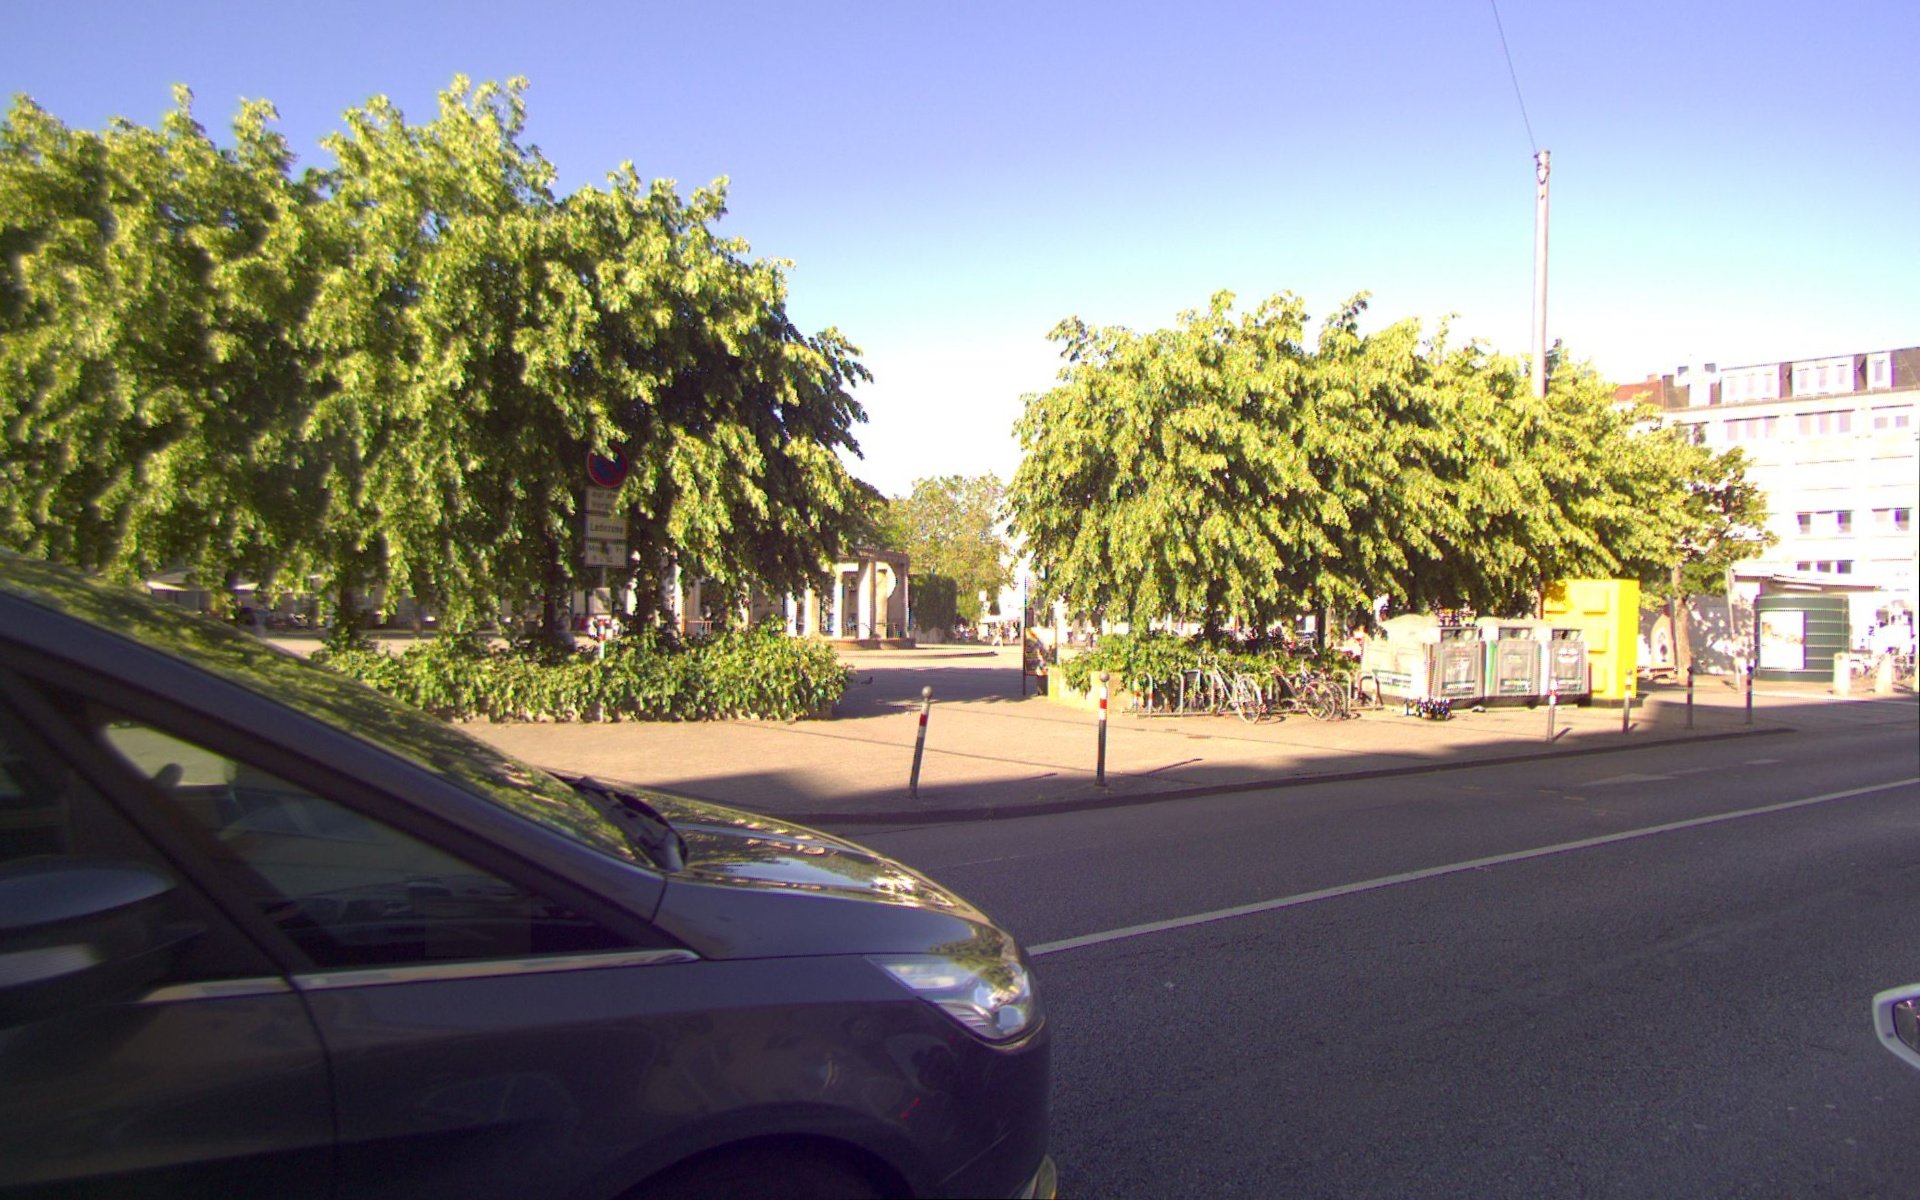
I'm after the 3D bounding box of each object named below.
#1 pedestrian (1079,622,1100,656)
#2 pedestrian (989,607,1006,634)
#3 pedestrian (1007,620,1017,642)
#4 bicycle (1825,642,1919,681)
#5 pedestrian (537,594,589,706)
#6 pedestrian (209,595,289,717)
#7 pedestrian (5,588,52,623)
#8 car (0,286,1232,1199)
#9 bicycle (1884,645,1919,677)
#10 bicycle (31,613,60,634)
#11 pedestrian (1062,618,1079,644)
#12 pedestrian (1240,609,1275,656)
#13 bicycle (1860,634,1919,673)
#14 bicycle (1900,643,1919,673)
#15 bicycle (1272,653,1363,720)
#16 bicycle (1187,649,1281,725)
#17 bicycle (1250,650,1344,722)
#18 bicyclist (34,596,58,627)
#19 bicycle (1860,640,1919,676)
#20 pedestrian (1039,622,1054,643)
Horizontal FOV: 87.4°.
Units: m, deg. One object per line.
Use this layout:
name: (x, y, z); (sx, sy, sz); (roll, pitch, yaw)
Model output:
pedestrian: (7.836, 2.348, 60.917); (0.890, 2.040, 0.989); (1, -1, -16)
pedestrian: (2.843, 1.560, 75.930); (0.808, 2.040, 1.041); (1, -1, -45)
pedestrian: (4.973, 2.947, 95.881); (0.886, 2.040, 1.286); (1, -1, 4)
bicycle: (30.899, 2.054, 33.859); (0.833, 1.171, 2.493); (1, -1, -31)
pedestrian: (-6.512, 0.810, 16.517); (0.725, 1.781, 0.895); (1, -1, -19)
pedestrian: (-10.758, 0.829, 15.229); (0.725, 1.781, 0.895); (1, -1, -19)
pedestrian: (-51.794, 0.318, 55.856); (1.233, 1.937, 1.451); (1, 0, 19)
car: (-1.971, 0.586, 1.550); (4.675, 1.795, 1.983); (1, -2, -32)
bicycle: (36.748, 2.325, 38.020); (0.834, 1.171, 2.517); (1, -1, -34)
bicycle: (-43.267, 1.110, 47.529); (1.875, 0.966, 0.587); (0, -1, 35)
pedestrian: (8.653, 2.403, 78.693); (0.890, 2.040, 1.280); (1, -1, -18)
pedestrian: (13.313, 1.440, 44.990); (0.890, 2.040, 1.398); (1, -1, -17)
bicycle: (34.475, 1.941, 36.513); (0.913, 1.341, 2.461); (1, -1, -35)
bicycle: (38.616, 2.311, 39.472); (0.834, 1.171, 2.308); (1, -1, -34)
bicycle: (5.812, 1.385, 16.420); (0.425, 0.971, 1.518); (0, 0, -28)
bicycle: (4.211, 1.320, 15.537); (0.425, 1.031, 1.590); (1, 0, -28)
bicycle: (5.380, 1.353, 16.121); (0.425, 1.036, 1.561); (1, -1, -28)
bicyclist: (-43.293, 0.551, 47.575); (0.687, 1.447, 0.671); (1, -1, 36)
bicycle: (33.115, 2.035, 35.024); (0.833, 1.171, 2.449); (1, -1, -31)
pedestrian: (8.403, 3.161, 97.999); (1.252, 2.040, 1.285); (1, -1, -4)
